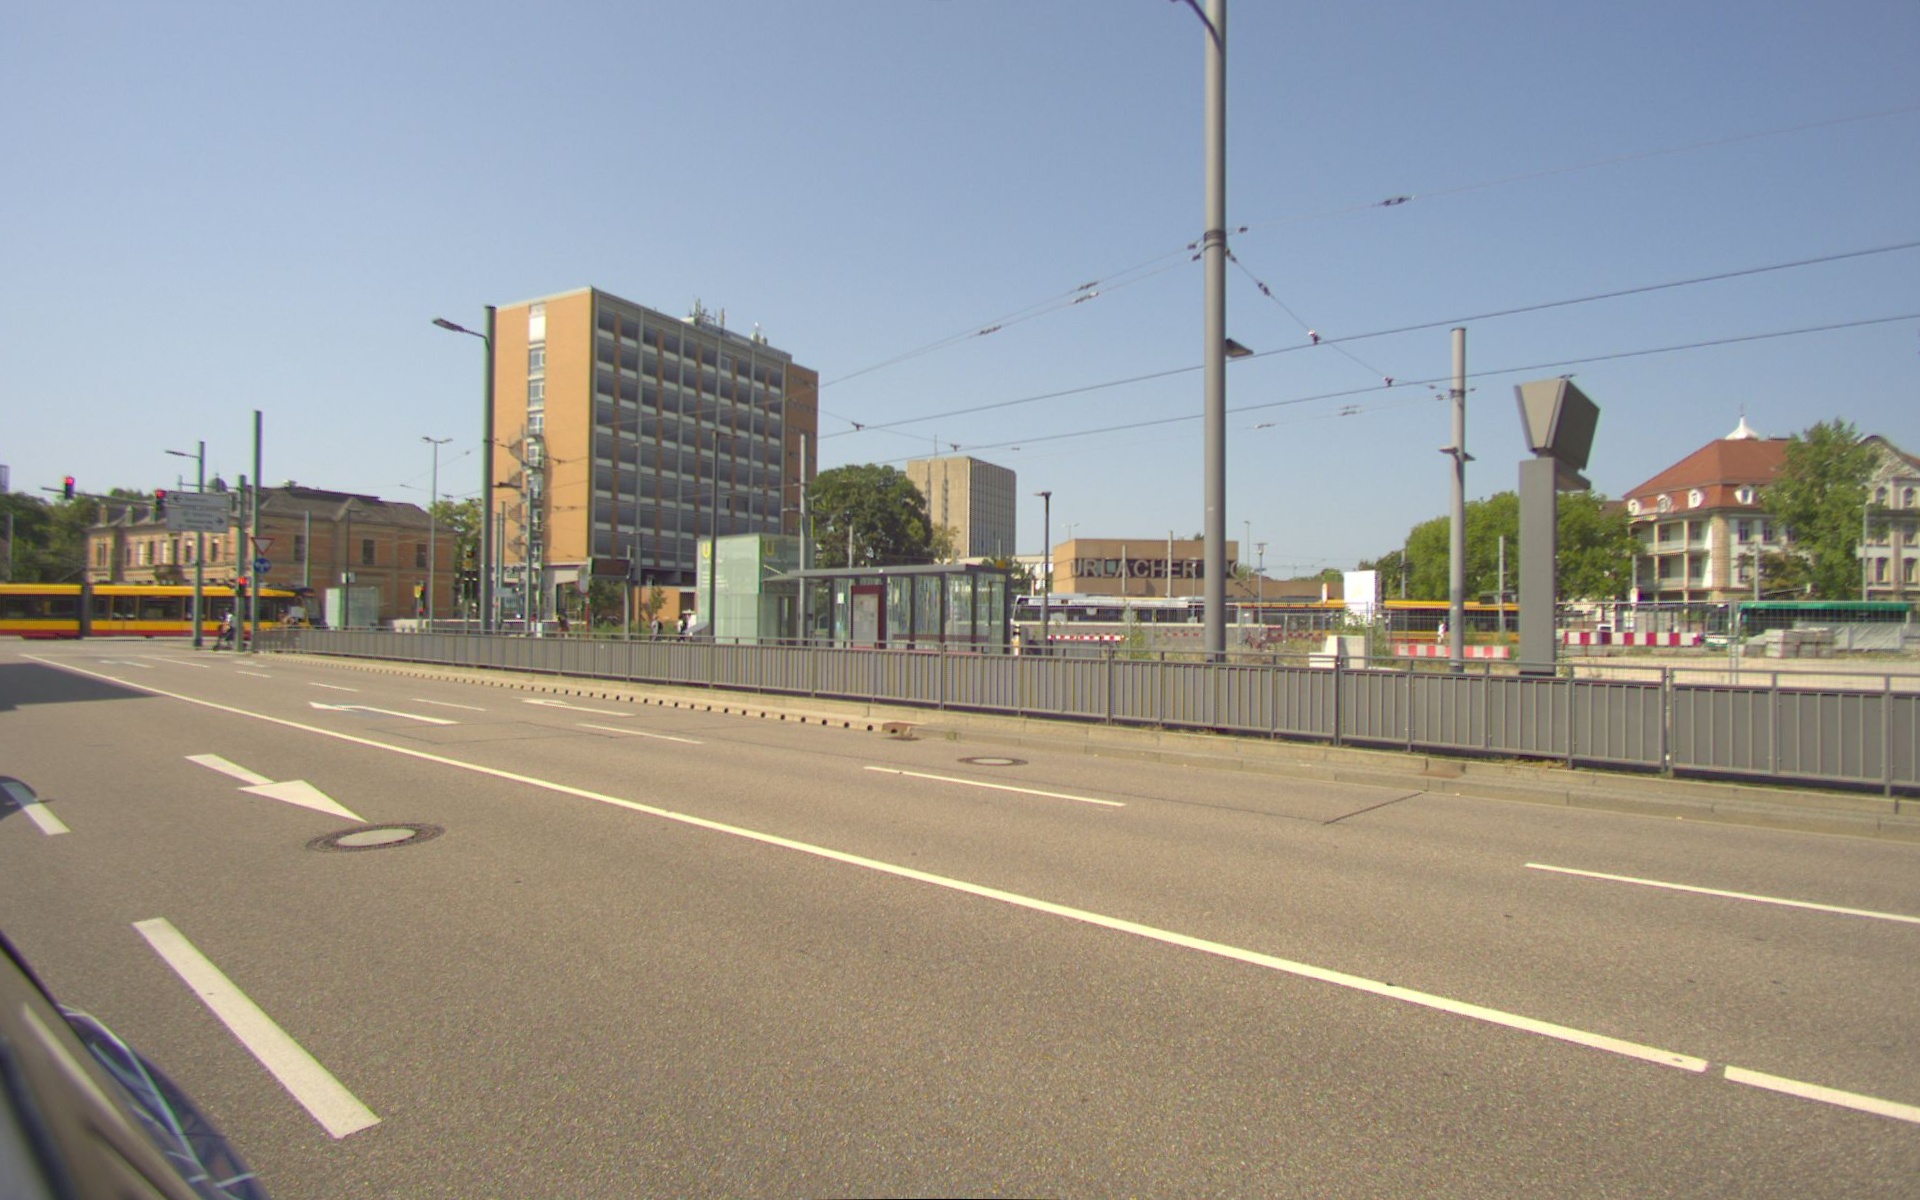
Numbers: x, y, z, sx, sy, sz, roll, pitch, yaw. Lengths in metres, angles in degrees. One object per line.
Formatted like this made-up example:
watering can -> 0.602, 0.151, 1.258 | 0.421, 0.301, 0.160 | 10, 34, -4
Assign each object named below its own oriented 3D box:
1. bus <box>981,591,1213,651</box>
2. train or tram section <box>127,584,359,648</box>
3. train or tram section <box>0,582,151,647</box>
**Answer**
bus -> 8.005, 1.200, 60.095 | 13.205, 3.319, 3.354 | -1, 0, -4
train or tram section -> -44.438, 1.041, 63.063 | 12.171, 3.794, 2.003 | 1, -2, -8
train or tram section -> -56.440, 0.885, 61.255 | 12.167, 3.794, 2.004 | 1, -2, -10
